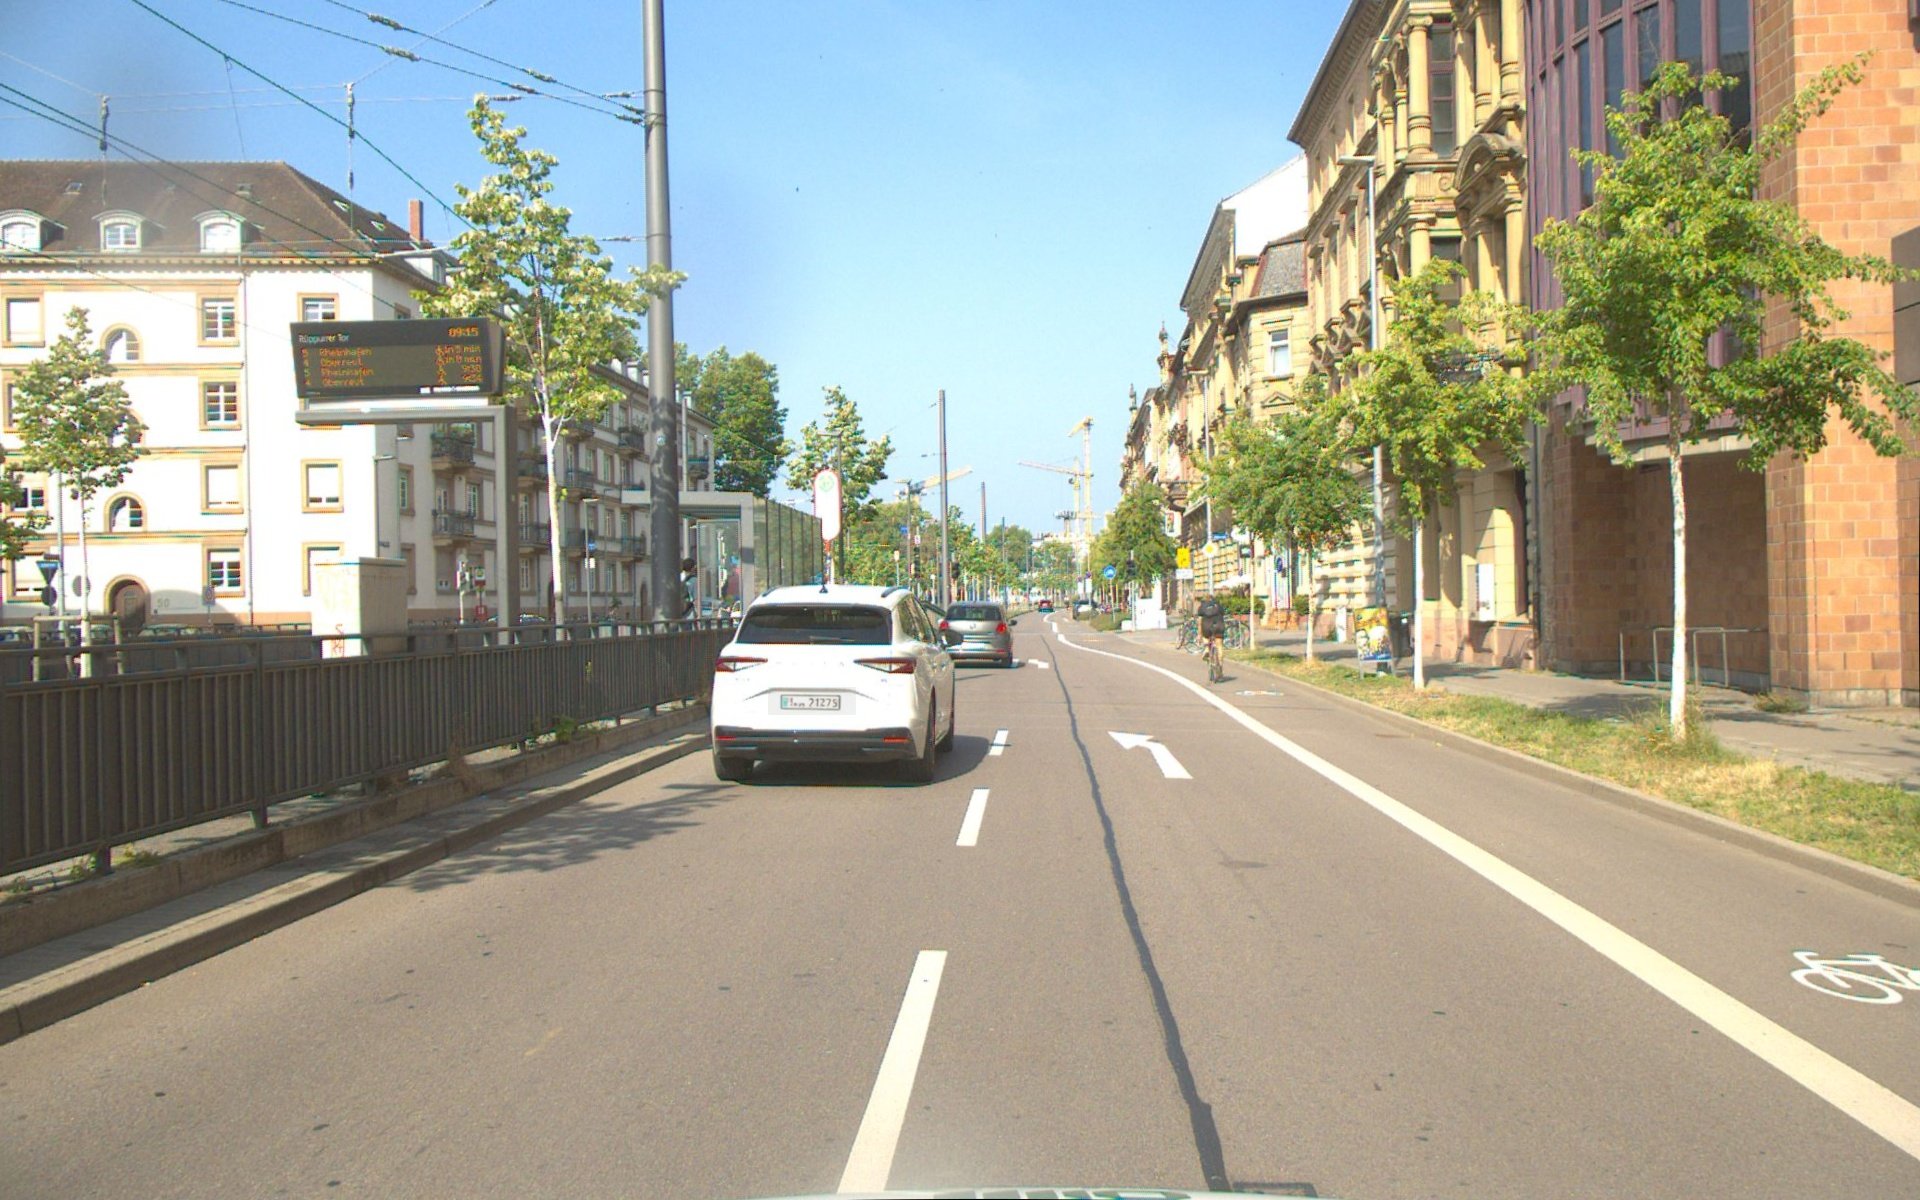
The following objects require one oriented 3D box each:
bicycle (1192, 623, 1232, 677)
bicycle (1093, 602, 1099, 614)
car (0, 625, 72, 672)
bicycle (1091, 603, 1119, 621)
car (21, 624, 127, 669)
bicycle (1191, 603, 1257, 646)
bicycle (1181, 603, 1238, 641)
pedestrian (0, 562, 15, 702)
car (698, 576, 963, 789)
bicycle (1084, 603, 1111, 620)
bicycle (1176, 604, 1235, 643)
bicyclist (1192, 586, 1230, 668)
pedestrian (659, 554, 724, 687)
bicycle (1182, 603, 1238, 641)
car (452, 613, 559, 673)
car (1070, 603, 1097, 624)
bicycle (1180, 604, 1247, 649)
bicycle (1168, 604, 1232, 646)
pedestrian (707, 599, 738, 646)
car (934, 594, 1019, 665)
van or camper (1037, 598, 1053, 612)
[{"bbox_3d":[4.724,0.950,31.088,0.495,0.970,1.785,1,-2,1],"label":"bicycle"},{"bbox_3d":[12.714,0.743,154.290,0.482,1.113,1.827,-1,0,3],"label":"bicycle"},{"bbox_3d":[-33.944,1.751,59.829,1.639,1.559,3.924,-2,0,-2],"label":"car"},{"bbox_3d":[9.656,0.783,110.299,1.770,1.115,0.671,-3,0,-2],"label":"bicycle"},{"bbox_3d":[-30.982,1.607,57.972,1.639,1.430,3.998,-2,0,-2],"label":"car"},{"bbox_3d":[7.699,0.706,48.327,1.722,1.106,0.657,-5,0,-6],"label":"bicycle"},{"bbox_3d":[7.884,0.694,52.316,1.715,1.106,0.583,-3,0,6],"label":"bicycle"},{"bbox_3d":[-13.477,0.441,22.412,0.723,1.905,0.940,-1,0,6],"label":"pedestrian"},{"bbox_3d":[-0.992,0.636,14.826,1.779,1.617,4.408,0,0,3],"label":"car"},{"bbox_3d":[9.258,0.785,111.612,1.748,1.072,0.373,-3,0,2],"label":"bicycle"},{"bbox_3d":[7.570,0.722,51.074,1.718,1.106,0.669,-3,0,8],"label":"bicycle"},{"bbox_3d":[4.706,0.523,31.057,0.571,1.508,0.931,1,-3,1],"label":"bicyclist"},{"bbox_3d":[-4.235,0.319,26.189,0.816,2.049,1.028,1,-1,0],"label":"pedestrian"},{"bbox_3d":[7.994,0.701,52.912,1.715,1.106,0.583,-3,0,6],"label":"bicycle"},{"bbox_3d":[-15.266,1.422,55.822,1.951,1.837,4.635,-2,0,5],"label":"car"},{"bbox_3d":[9.907,1.080,133.036,1.733,1.616,4.247,-2,0,0],"label":"car"},{"bbox_3d":[7.170,0.746,46.784,1.722,1.106,0.610,-5,0,-7],"label":"bicycle"},{"bbox_3d":[7.186,0.761,49.600,1.730,1.106,0.669,-4,0,-20],"label":"bicycle"},{"bbox_3d":[-9.841,0.928,68.447,1.054,1.900,0.857,-1,-1,-25],"label":"pedestrian"},{"bbox_3d":[0.431,0.634,37.396,1.717,1.510,4.408,0,0,3],"label":"car"},{"bbox_3d":[10.924,0.611,211.863,1.952,1.684,4.001,-2,0,3],"label":"van or camper"}]
